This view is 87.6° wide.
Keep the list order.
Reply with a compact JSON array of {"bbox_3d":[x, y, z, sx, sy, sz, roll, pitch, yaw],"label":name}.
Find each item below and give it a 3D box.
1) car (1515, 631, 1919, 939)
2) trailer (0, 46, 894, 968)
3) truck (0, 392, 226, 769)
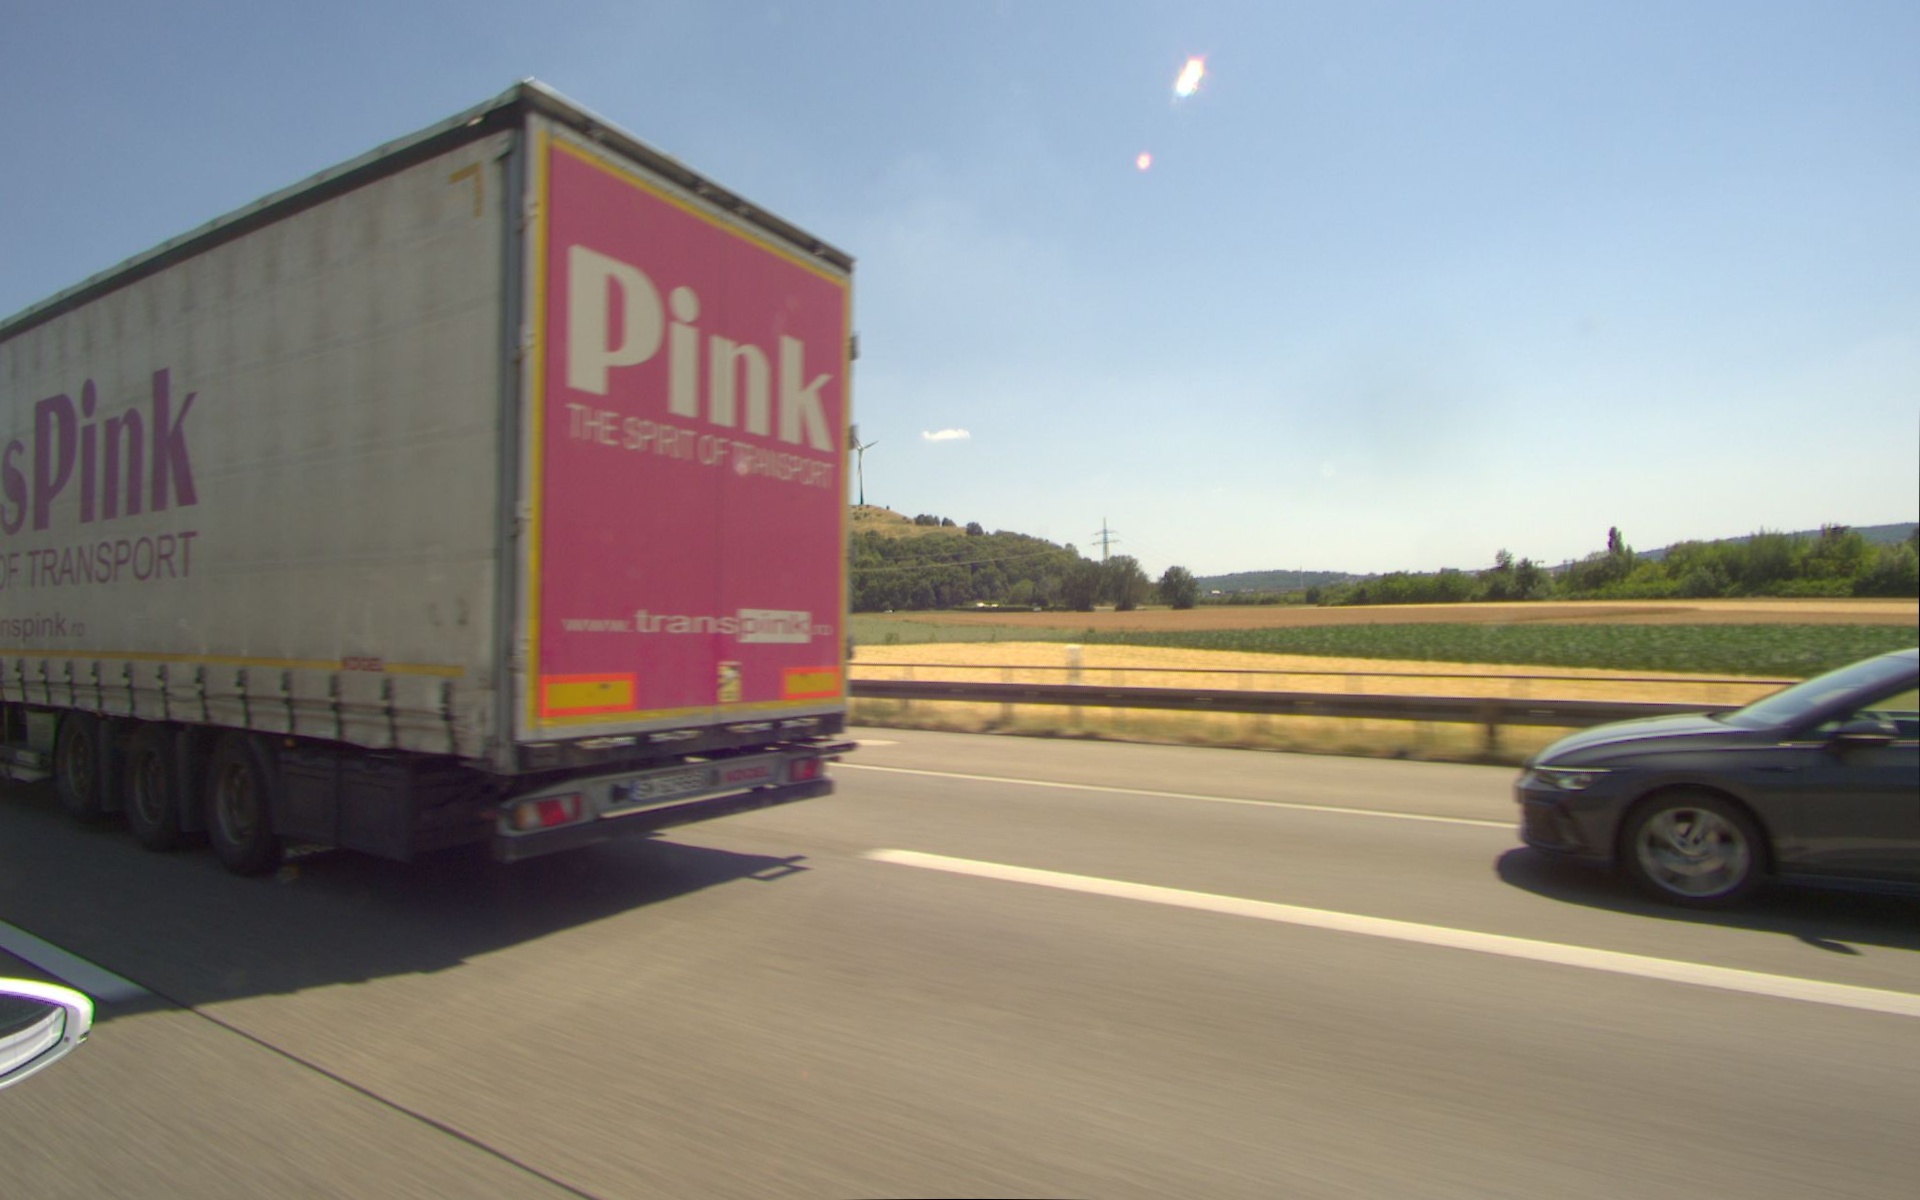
[{"bbox_3d":[5.547,0.912,5.333,4.470,1.489,1.759,-1,-2,32],"label":"car"},{"bbox_3d":[-6.992,-0.270,9.414,13.660,4.170,2.914,-1,-2,32],"label":"trailer"},{"bbox_3d":[-12.719,-0.136,13.049,6.418,4.060,2.912,-1,-2,32],"label":"truck"}]
